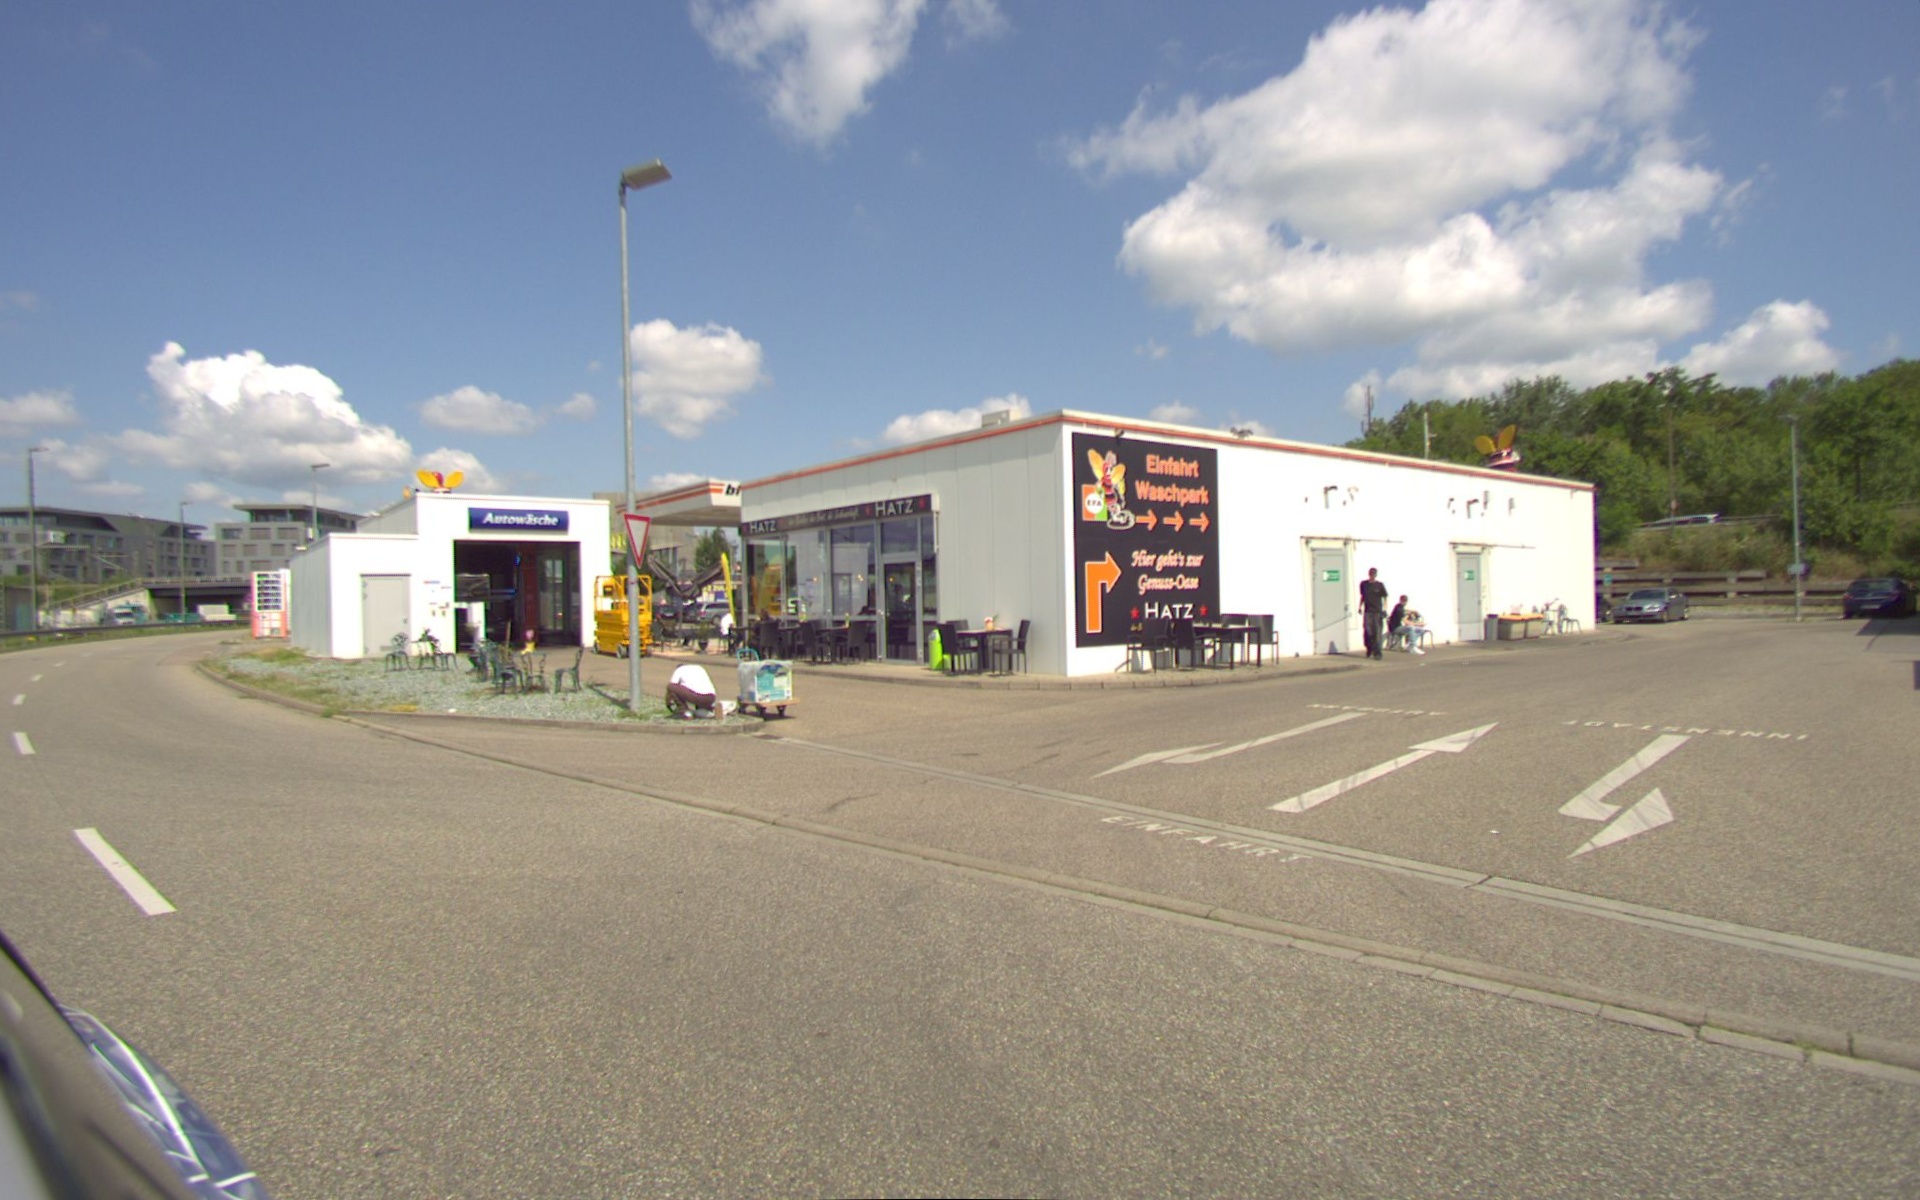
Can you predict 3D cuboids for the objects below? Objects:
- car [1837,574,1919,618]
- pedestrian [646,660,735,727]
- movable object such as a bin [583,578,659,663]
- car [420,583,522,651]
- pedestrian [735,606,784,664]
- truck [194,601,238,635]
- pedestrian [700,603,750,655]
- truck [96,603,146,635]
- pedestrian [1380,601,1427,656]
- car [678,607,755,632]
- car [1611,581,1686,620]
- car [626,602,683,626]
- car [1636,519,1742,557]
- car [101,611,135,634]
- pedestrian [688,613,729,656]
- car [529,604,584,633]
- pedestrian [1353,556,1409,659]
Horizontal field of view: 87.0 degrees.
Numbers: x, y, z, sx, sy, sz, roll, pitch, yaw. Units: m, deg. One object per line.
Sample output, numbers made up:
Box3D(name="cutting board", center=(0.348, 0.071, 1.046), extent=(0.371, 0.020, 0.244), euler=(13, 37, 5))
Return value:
Box3D(name="car", center=(33.489, -0.142, 36.782), extent=(3.937, 1.517, 1.892), euler=(0, 0, -40))
Box3D(name="pedestrian", center=(-3.503, 1.198, 13.156), extent=(0.851, 0.766, 0.819), euler=(0, -1, -41))
Box3D(name="movable object such as a bin", center=(-9.183, 0.500, 27.347), extent=(1.049, 2.168, 2.709), euler=(-1, 1, -39))
Box3D(name="car", center=(-16.719, 0.547, 34.473), extent=(1.968, 2.125, 5.019), euler=(0, 0, -40))
Box3D(name="pedestrian", center=(-4.517, 0.773, 22.791), extent=(0.743, 1.266, 0.901), euler=(-1, 0, -37))
Box3D(name="truck", center=(-78.594, 1.818, 106.830), extent=(2.949, 3.445, 8.124), euler=(0, 0, -42))
Box3D(name="pedestrian", center=(-6.203, 0.753, 26.736), extent=(0.863, 1.317, 0.930), euler=(-1, 0, 34))
Box3D(name="truck", center=(-102.402, 2.298, 123.479), extent=(6.865, 3.673, 2.627), euler=(0, 2, 32))
Box3D(name="pedestrian", center=(9.817, 0.616, 22.412), extent=(0.841, 1.175, 0.703), euler=(1, 1, 34))
Box3D(name="car", center=(-15.490, 1.207, 64.501), extent=(1.924, 1.500, 4.466), euler=(-1, 0, 43))
Box3D(name="car", center=(28.442, 0.045, 41.769), extent=(1.832, 1.523, 4.140), euler=(-2, -1, 45))
Box3D(name="car", center=(-20.357, 0.917, 67.319), extent=(1.968, 1.564, 4.605), euler=(0, 0, -40))
Box3D(name="car", center=(37.420, -3.170, 52.070), extent=(4.365, 1.663, 1.976), euler=(0, 0, 35))
Box3D(name="car", center=(-95.264, 2.521, 114.501), extent=(5.880, 2.545, 2.038), euler=(-1, 1, 42))
Box3D(name="pedestrian", center=(-6.827, 0.923, 27.480), extent=(0.808, 1.119, 0.757), euler=(-1, 0, -40))
Box3D(name="car", center=(-25.219, 1.122, 63.167), extent=(1.968, 1.780, 4.607), euler=(0, 0, -38))
Box3D(name="pedestrian", center=(8.569, 0.133, 20.606), extent=(0.863, 2.029, 0.930), euler=(1, 1, 34))
